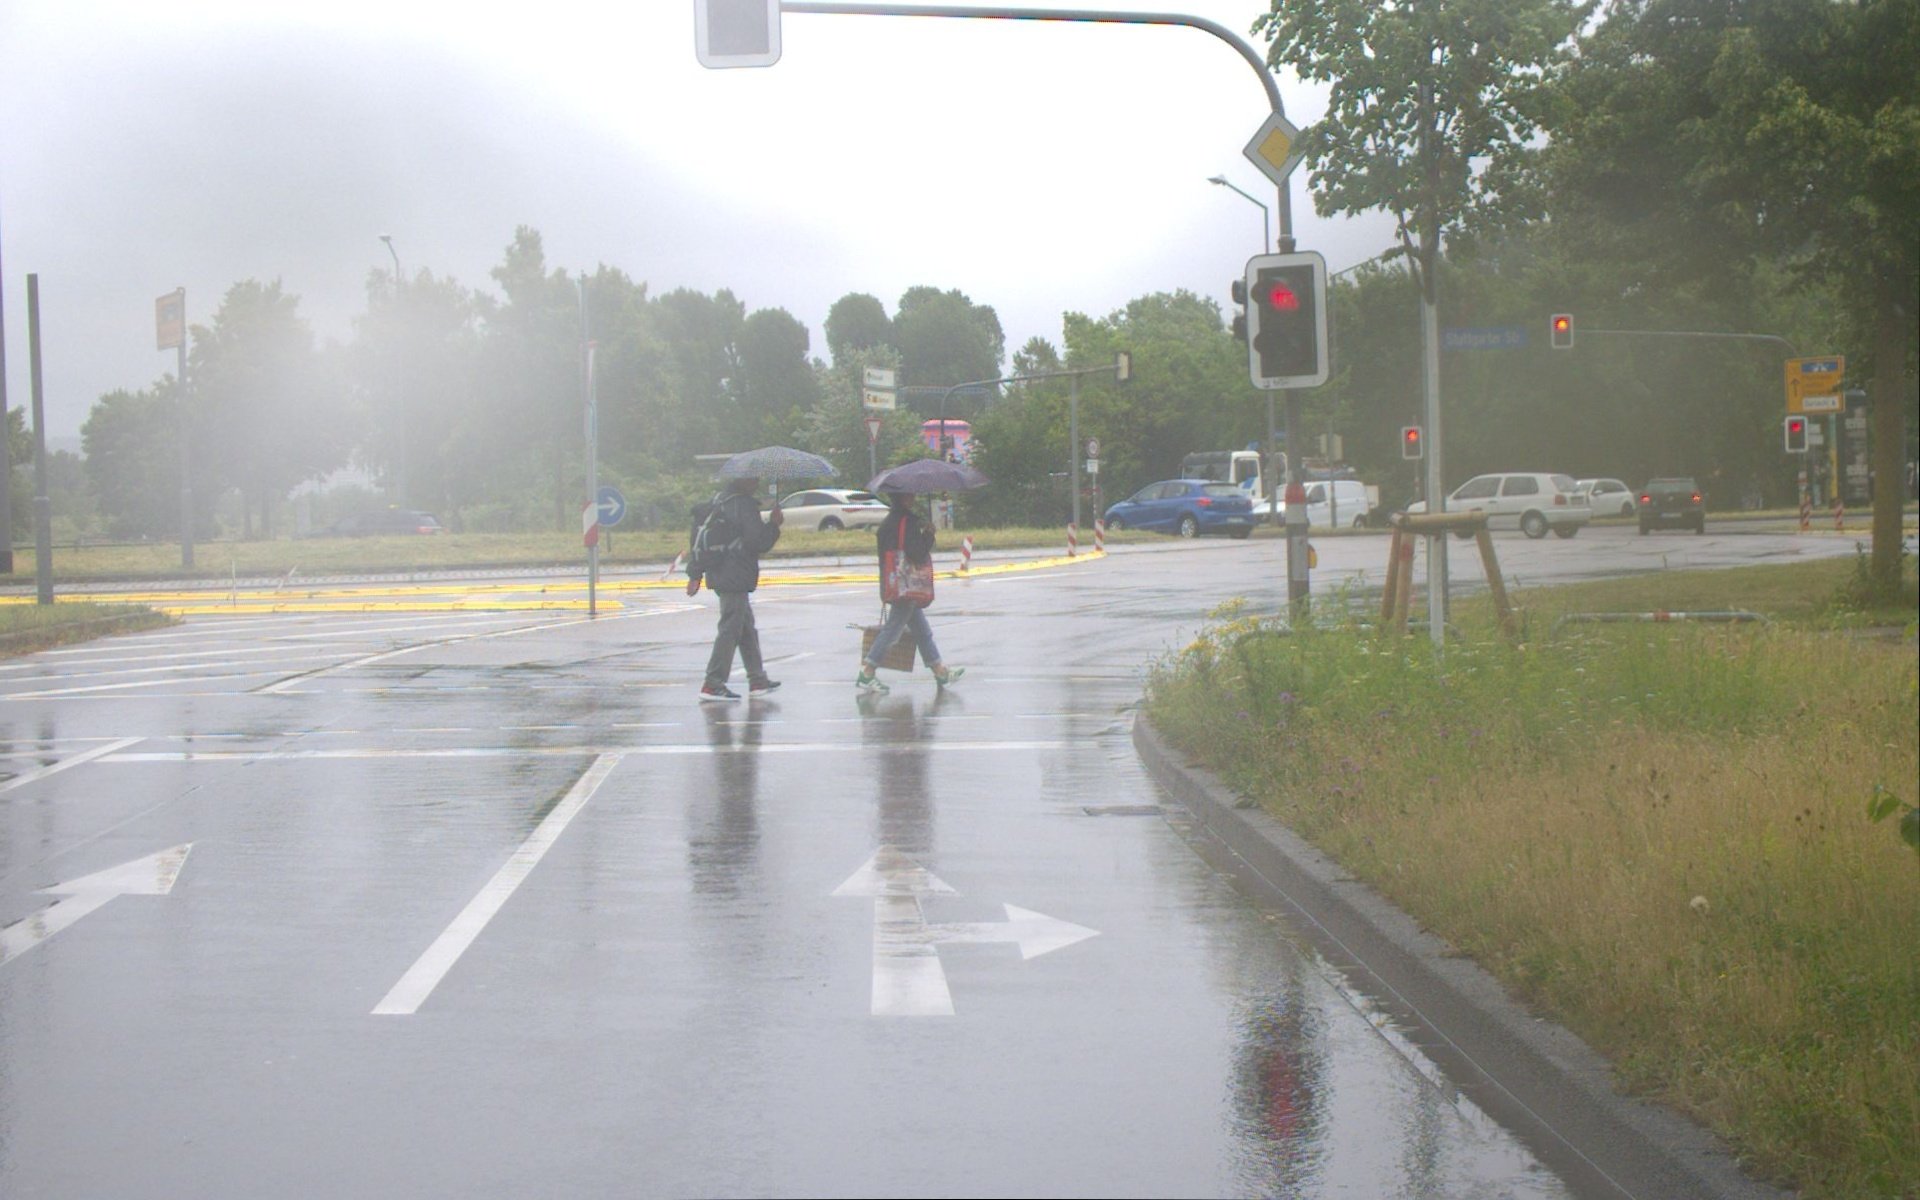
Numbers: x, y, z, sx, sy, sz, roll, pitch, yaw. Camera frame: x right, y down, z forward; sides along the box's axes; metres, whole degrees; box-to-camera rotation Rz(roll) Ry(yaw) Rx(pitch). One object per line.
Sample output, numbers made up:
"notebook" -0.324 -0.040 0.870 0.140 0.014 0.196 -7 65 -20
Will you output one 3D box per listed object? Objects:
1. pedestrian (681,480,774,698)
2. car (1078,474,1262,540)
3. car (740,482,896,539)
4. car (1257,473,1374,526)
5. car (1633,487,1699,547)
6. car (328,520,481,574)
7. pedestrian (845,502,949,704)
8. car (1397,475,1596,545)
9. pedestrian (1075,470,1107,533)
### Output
"pedestrian" -1.647 -0.088 24.410 0.621 1.517 0.741 1 2 -2
"car" 4.843 -2.146 79.478 3.982 1.449 1.620 0 2 36
"car" -3.766 -2.350 90.587 4.109 1.449 1.620 1 2 41
"car" 11.786 -3.320 113.856 1.800 1.656 4.125 2 1 40
"car" 18.090 -2.150 88.168 1.619 1.449 3.986 -1 2 11
"car" -15.790 -1.511 97.819 3.975 1.449 1.623 -1 2 7
"pedestrian" -0.469 0.016 25.468 0.680 1.456 0.573 -2 1 -5
"car" 11.591 -1.941 74.398 3.984 1.449 1.620 1 2 40
"pedestrian" 2.729 -2.042 71.464 0.453 1.300 0.485 0 2 38
